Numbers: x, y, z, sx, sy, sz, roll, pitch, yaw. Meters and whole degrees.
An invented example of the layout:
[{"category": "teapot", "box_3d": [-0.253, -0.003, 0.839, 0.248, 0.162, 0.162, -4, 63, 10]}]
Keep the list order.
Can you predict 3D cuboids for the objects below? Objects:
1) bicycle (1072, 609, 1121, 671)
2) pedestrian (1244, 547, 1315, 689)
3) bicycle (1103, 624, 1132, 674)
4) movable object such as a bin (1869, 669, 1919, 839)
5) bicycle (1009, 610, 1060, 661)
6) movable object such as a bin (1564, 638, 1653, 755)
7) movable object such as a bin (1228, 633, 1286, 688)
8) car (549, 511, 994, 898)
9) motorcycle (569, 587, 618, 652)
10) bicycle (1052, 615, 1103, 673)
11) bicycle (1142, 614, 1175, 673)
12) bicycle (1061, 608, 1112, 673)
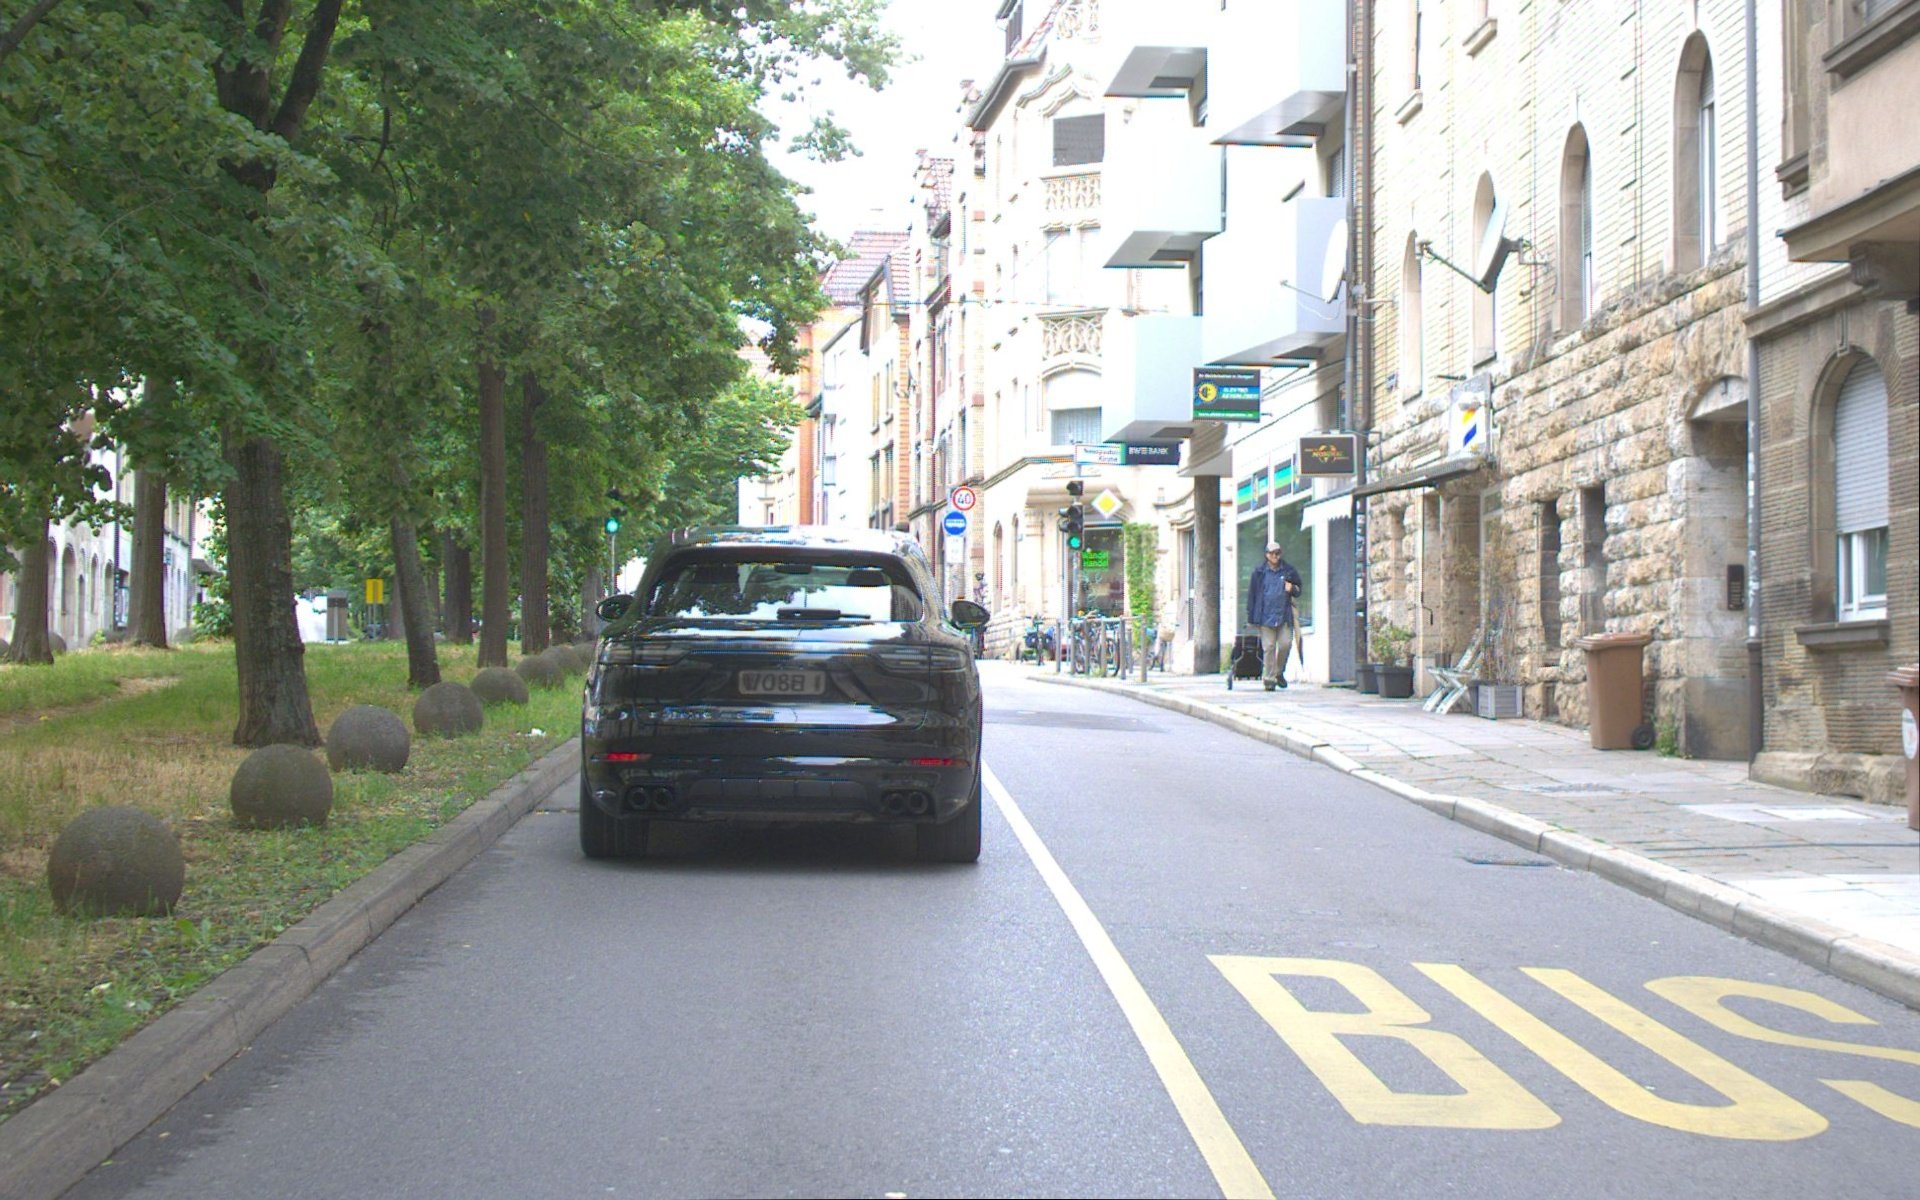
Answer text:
[{"category": "bicycle", "box_3d": [2.117, 0.629, 53.336, 0.569, 0.928, 1.775, 1, -1, -3]}, {"category": "pedestrian", "box_3d": [3.831, 0.219, 41.266, 0.751, 1.687, 0.858, 0, -1, -2]}, {"category": "bicycle", "box_3d": [3.532, 1.093, 77.050, 0.349, 1.055, 1.834, 4, 0, -5]}, {"category": "movable object such as a bin", "box_3d": [5.376, 0.843, 18.863, 0.594, 0.901, 0.563, 1, 0, -1]}, {"category": "bicycle", "box_3d": [1.700, 0.832, 78.744, 0.879, 1.125, 2.979, 1, -1, -4]}, {"category": "movable object such as a bin", "box_3d": [5.159, 0.773, 27.347, 0.594, 0.901, 0.503, 1, -4, -1]}, {"category": "movable object such as a bin", "box_3d": [3.632, 0.740, 42.118, 0.607, 0.666, 0.858, 0, -1, -2]}, {"category": "car", "box_3d": [-0.911, 0.439, 17.989, 1.993, 1.660, 4.001, 3, 2, -1]}, {"category": "motorcycle", "box_3d": [-8.417, 0.459, 79.079, 1.019, 1.441, 2.247, -1, -1, -4]}, {"category": "bicycle", "box_3d": [1.918, 0.723, 56.326, 0.286, 0.928, 1.761, 2, -1, -16]}, {"category": "bicycle", "box_3d": [4.424, 0.954, 76.707, 0.446, 1.157, 1.835, 0, 4, -5]}, {"category": "bicycle", "box_3d": [2.082, 0.671, 56.653, 0.286, 1.051, 1.761, 2, -1, -16]}]
